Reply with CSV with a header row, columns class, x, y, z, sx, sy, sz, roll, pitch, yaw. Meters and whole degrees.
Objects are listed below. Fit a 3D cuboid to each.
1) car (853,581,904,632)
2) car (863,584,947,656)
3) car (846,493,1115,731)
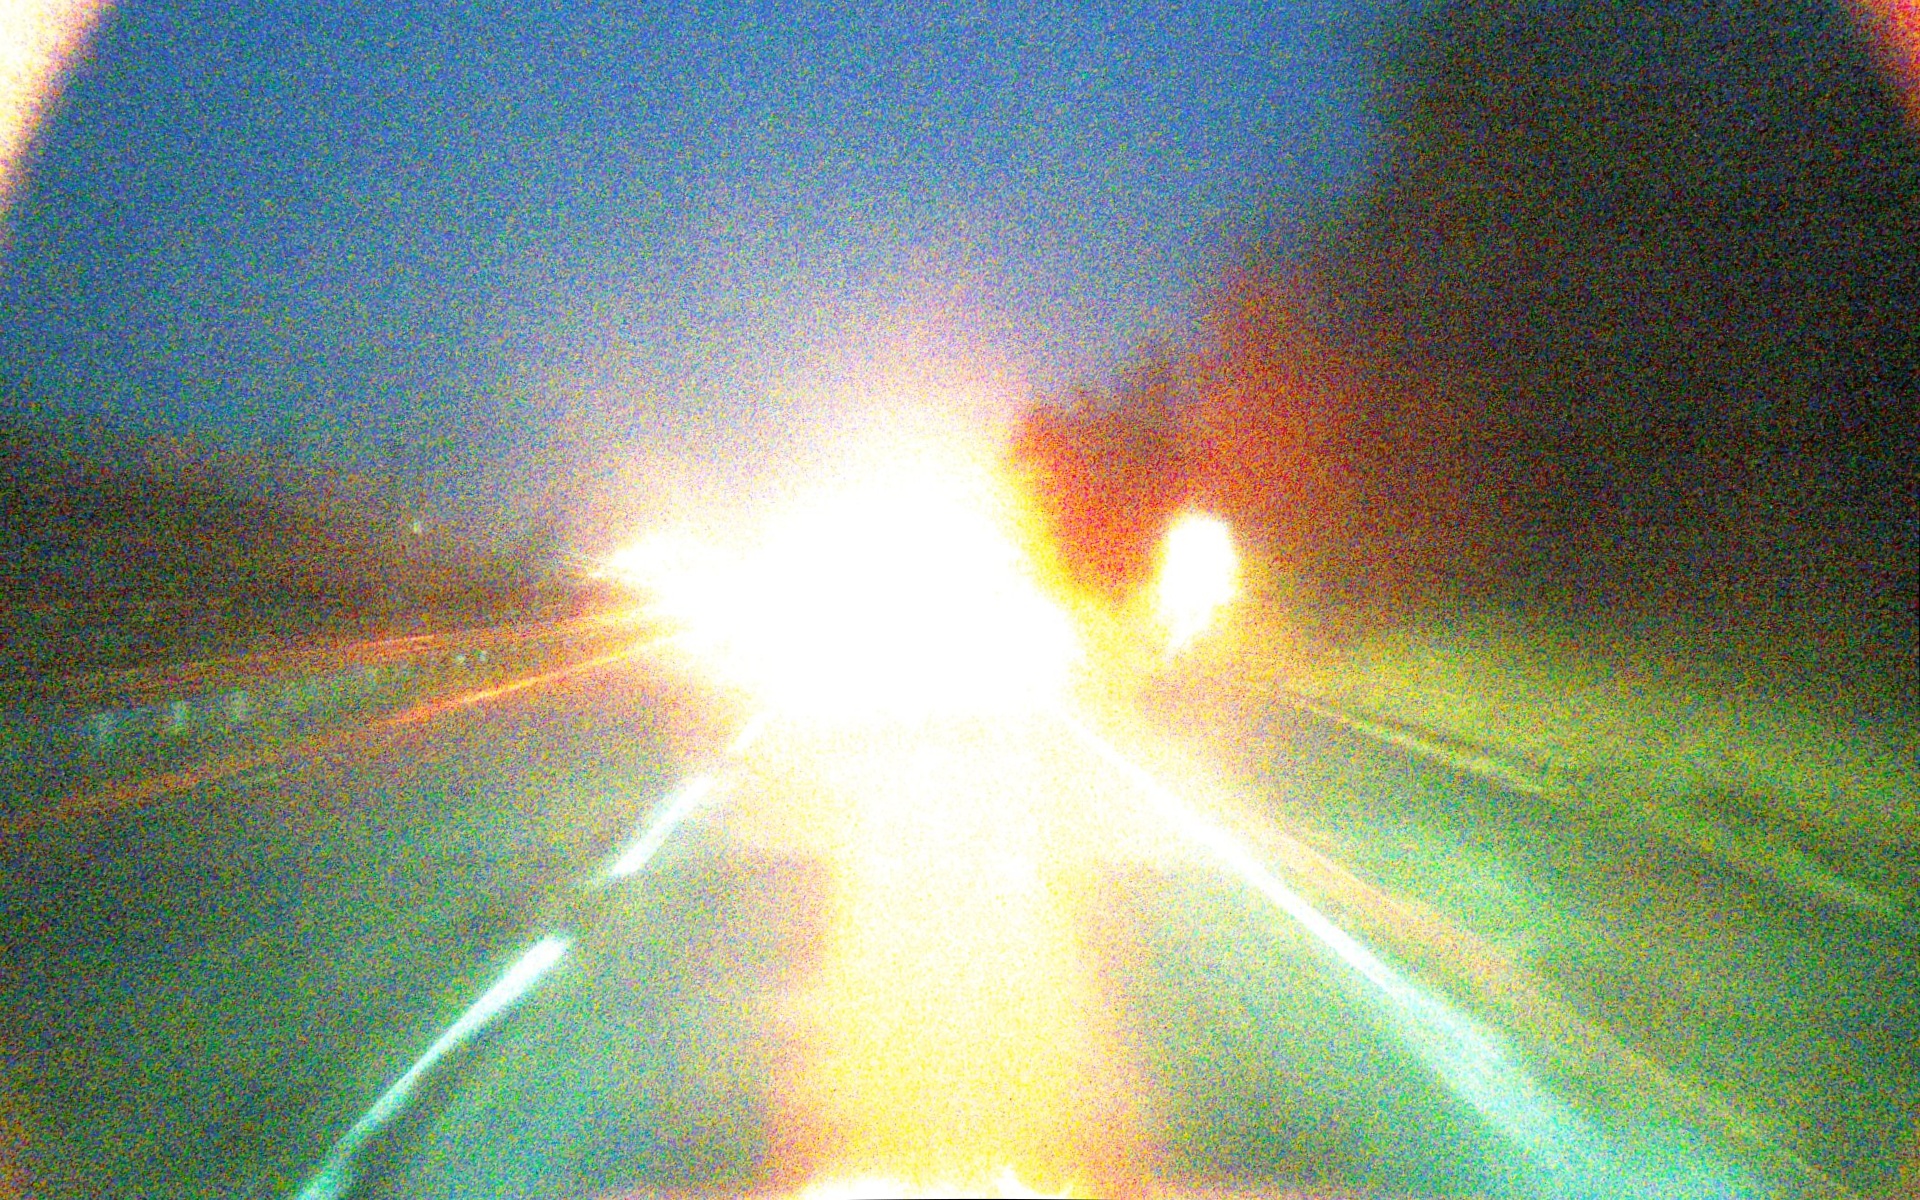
class,x,y,z,sx,sy,sz,roll,pitch,yaw
car,-3.244,0.226,65.851,1.954,1.948,3.998,-1,0,-3
car,-1.365,0.430,39.475,1.842,1.608,4.781,1,0,-4
car,0.100,0.091,19.466,2.661,2.348,6.098,0,1,-2
